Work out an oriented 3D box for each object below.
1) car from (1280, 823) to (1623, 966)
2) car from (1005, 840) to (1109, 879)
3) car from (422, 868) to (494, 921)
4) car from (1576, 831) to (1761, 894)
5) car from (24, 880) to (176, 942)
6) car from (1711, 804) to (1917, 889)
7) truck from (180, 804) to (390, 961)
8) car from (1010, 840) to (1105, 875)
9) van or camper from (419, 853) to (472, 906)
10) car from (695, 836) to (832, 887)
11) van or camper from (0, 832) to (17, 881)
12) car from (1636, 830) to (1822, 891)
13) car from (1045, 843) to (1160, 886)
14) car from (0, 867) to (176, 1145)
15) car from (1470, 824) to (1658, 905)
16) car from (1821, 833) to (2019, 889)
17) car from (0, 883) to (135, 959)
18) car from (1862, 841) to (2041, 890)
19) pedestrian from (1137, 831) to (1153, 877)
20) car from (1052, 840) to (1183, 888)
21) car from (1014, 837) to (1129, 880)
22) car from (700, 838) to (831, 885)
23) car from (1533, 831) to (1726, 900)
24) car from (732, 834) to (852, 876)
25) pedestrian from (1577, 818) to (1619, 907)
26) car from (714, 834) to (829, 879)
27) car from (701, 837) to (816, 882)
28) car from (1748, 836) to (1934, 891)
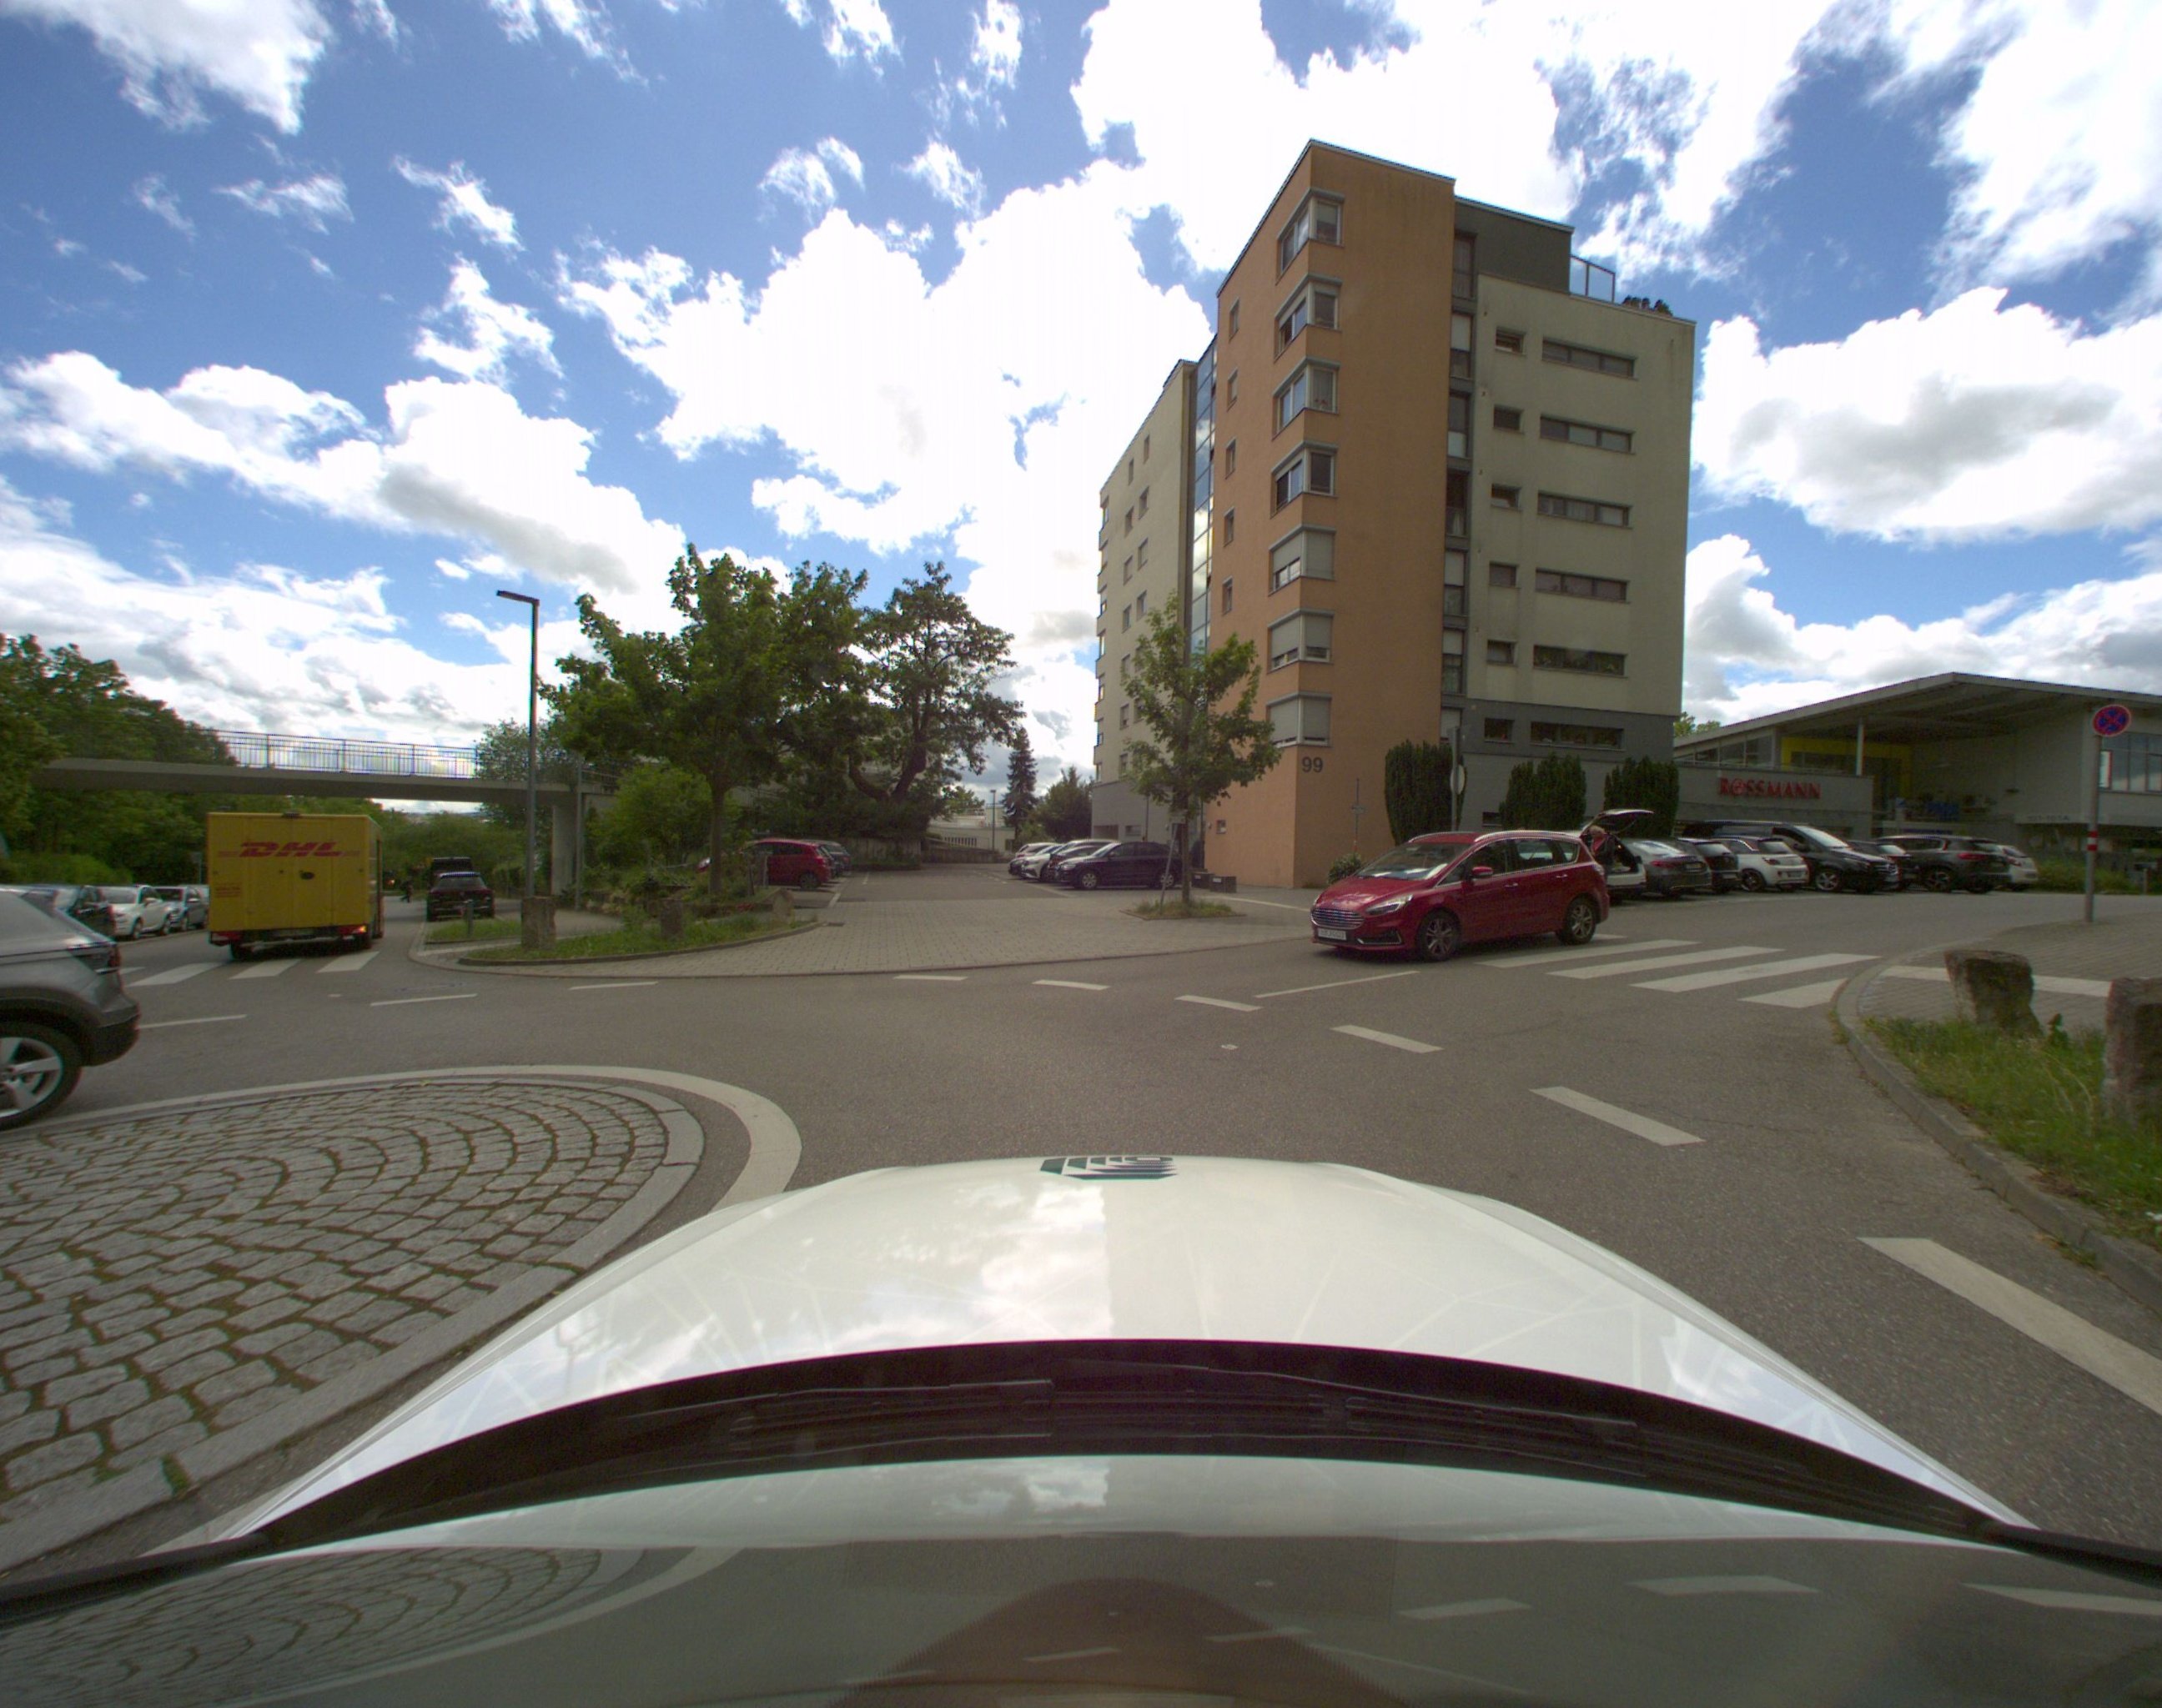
[{"bbox_3d":[5.357,0.469,11.757,4.542,1.644,1.964,-2,0,-24],"label":"car"},{"bbox_3d":[-1.001,0.225,33.547,4.044,1.517,1.749,1,-1,-12],"label":"car"},{"bbox_3d":[-22.233,1.475,29.003,1.829,1.678,4.318,0,-4,-40],"label":"car"},{"bbox_3d":[15.366,0.212,21.558,1.639,1.482,3.758,-2,0,-15],"label":"car"},{"bbox_3d":[-26.552,1.480,22.201,1.899,1.460,3.506,1,-1,-38],"label":"car"},{"bbox_3d":[20.271,-0.160,22.762,1.827,2.161,3.957,1,-1,-15],"label":"car"},{"bbox_3d":[-16.568,0.581,17.409,2.486,2.702,6.745,1,-2,-38],"label":"truck"},{"bbox_3d":[-1.066,0.165,36.344,3.983,1.517,1.750,1,-1,-12],"label":"car"},{"bbox_3d":[-33.471,1.347,42.867,2.010,2.523,5.407,-2,0,-39],"label":"van or camper"},{"bbox_3d":[-9.398,0.251,24.386,3.658,1.439,1.675,1,-1,-17],"label":"car"},{"bbox_3d":[-48.212,0.068,33.629,4.897,2.086,1.975,1,-1,-44],"label":"van or camper"},{"bbox_3d":[17.691,0.170,22.462,1.639,1.482,3.758,-2,0,-15],"label":"car"},{"bbox_3d":[0.747,0.380,29.126,3.829,1.459,1.686,1,-1,-12],"label":"car"},{"bbox_3d":[-7.673,0.923,3.965,1.701,1.618,4.033,-2,-1,25],"label":"car"},{"bbox_3d":[11.181,0.228,19.171,1.571,1.659,3.758,-2,0,-15],"label":"car"},{"bbox_3d":[24.768,0.194,24.232,1.639,1.482,3.758,-2,0,-15],"label":"car"},{"bbox_3d":[-23.519,1.457,18.675,1.801,1.468,3.952,1,-1,-41],"label":"car"},{"bbox_3d":[28.952,0.357,27.247,1.639,1.482,3.758,-2,0,-15],"label":"car"},{"bbox_3d":[2.596,0.012,32.972,0.480,1.853,0.503,1,-1,-25],"label":"pedestrian"},{"bbox_3d":[1.162,0.337,26.995,4.044,1.517,1.749,1,-1,-12],"label":"car"},{"bbox_3d":[-0.385,0.187,31.531,4.131,1.594,1.682,1,-1,-19],"label":"car"},{"bbox_3d":[-10.074,0.255,26.282,3.796,1.422,1.675,1,-1,-17],"label":"car"},{"bbox_3d":[13.282,0.253,19.984,1.639,1.482,3.758,-2,0,-15],"label":"car"},{"bbox_3d":[-11.966,0.063,33.948,4.557,1.668,1.932,1,-1,-19],"label":"car"},{"bbox_3d":[10.741,0.178,16.927,0.582,1.812,0.482,1,-1,-13],"label":"pedestrian"},{"bbox_3d":[-11.768,0.123,31.212,3.999,1.614,1.932,1,-1,-19],"label":"car"},{"bbox_3d":[-11.391,0.213,29.012,3.658,1.498,1.675,1,-1,-17],"label":"car"},{"bbox_3d":[22.561,0.266,24.357,1.639,1.482,3.758,-2,0,-15],"label":"car"}]
